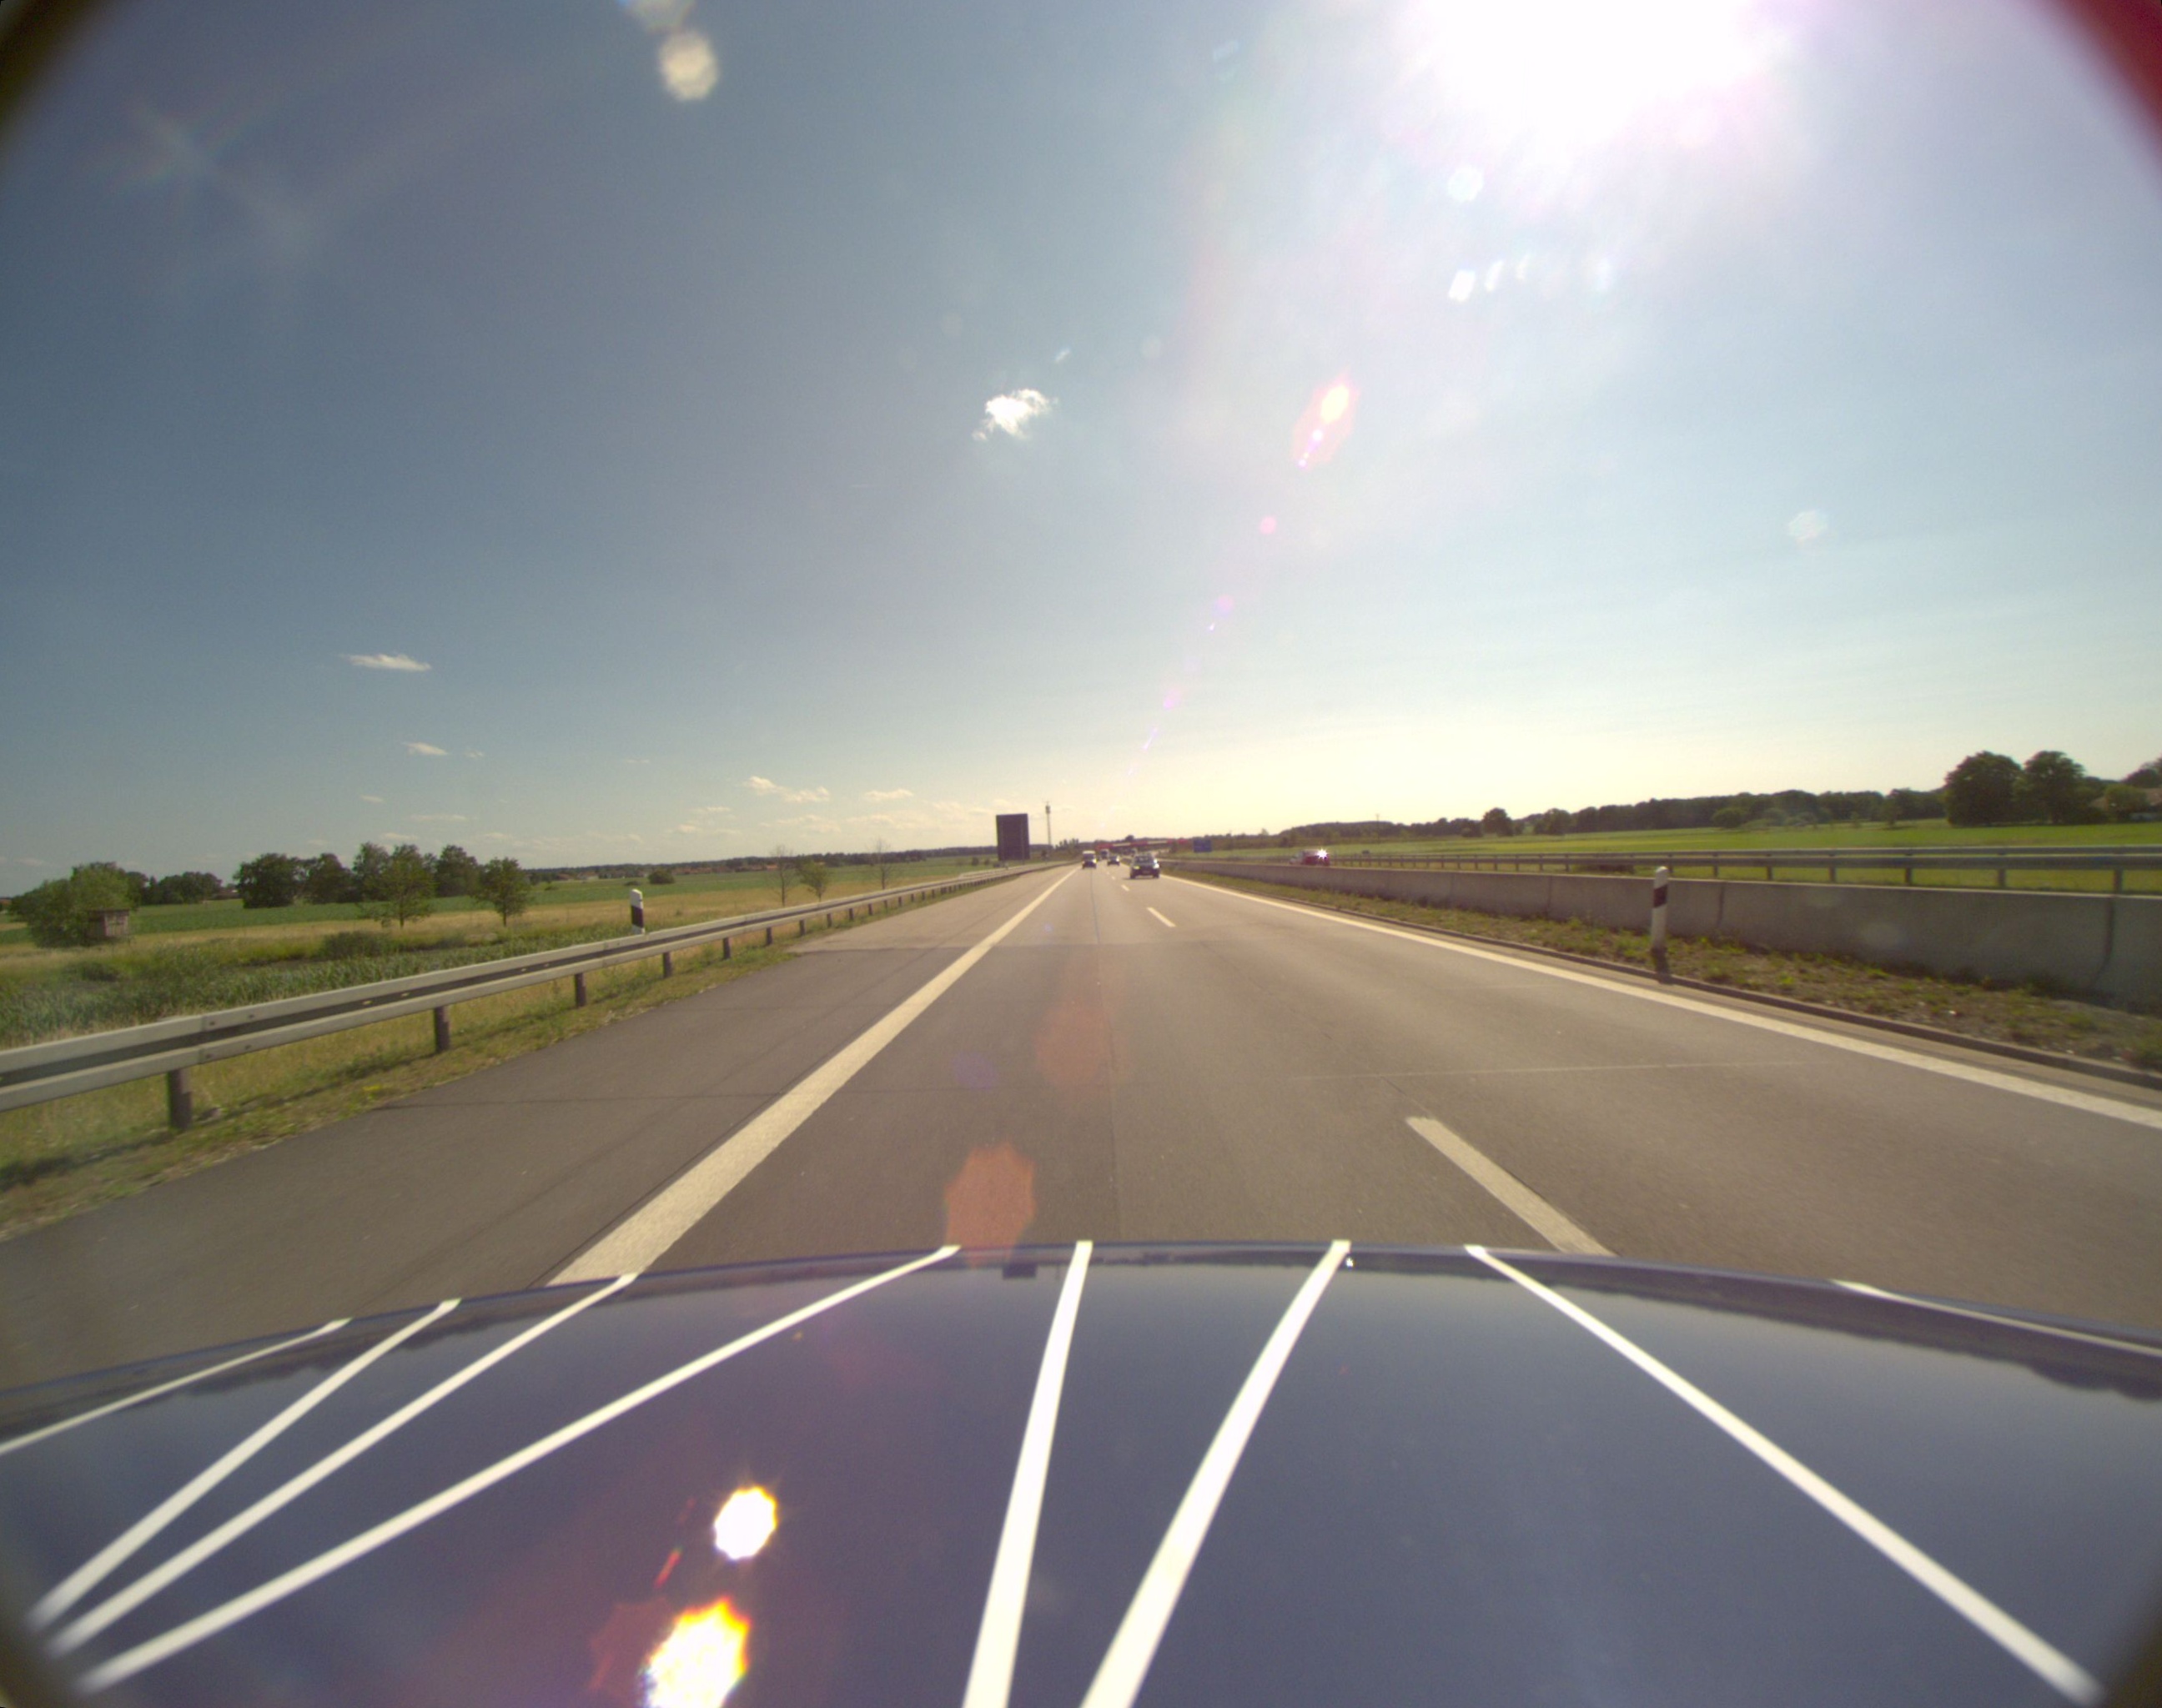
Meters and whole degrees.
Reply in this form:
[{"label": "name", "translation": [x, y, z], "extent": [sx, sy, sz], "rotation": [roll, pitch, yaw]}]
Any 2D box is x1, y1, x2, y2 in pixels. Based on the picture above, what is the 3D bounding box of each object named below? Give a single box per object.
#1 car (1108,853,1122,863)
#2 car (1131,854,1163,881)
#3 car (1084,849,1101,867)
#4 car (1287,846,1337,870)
[{"label": "car", "translation": [5.688, 0.688, 127.620], "extent": [2.030, 1.600, 4.818], "rotation": [-3, 0, 1]}, {"label": "car", "translation": [4.497, 0.883, 52.376], "extent": [2.030, 1.600, 4.819], "rotation": [-4, 0, 4]}, {"label": "car", "translation": [1.489, 0.551, 99.581], "extent": [2.030, 2.225, 4.818], "rotation": [-2, 1, 2]}, {"label": "car", "translation": [14.987, 0.243, 49.540], "extent": [1.902, 1.514, 4.806], "rotation": [0, 0, 1]}]
